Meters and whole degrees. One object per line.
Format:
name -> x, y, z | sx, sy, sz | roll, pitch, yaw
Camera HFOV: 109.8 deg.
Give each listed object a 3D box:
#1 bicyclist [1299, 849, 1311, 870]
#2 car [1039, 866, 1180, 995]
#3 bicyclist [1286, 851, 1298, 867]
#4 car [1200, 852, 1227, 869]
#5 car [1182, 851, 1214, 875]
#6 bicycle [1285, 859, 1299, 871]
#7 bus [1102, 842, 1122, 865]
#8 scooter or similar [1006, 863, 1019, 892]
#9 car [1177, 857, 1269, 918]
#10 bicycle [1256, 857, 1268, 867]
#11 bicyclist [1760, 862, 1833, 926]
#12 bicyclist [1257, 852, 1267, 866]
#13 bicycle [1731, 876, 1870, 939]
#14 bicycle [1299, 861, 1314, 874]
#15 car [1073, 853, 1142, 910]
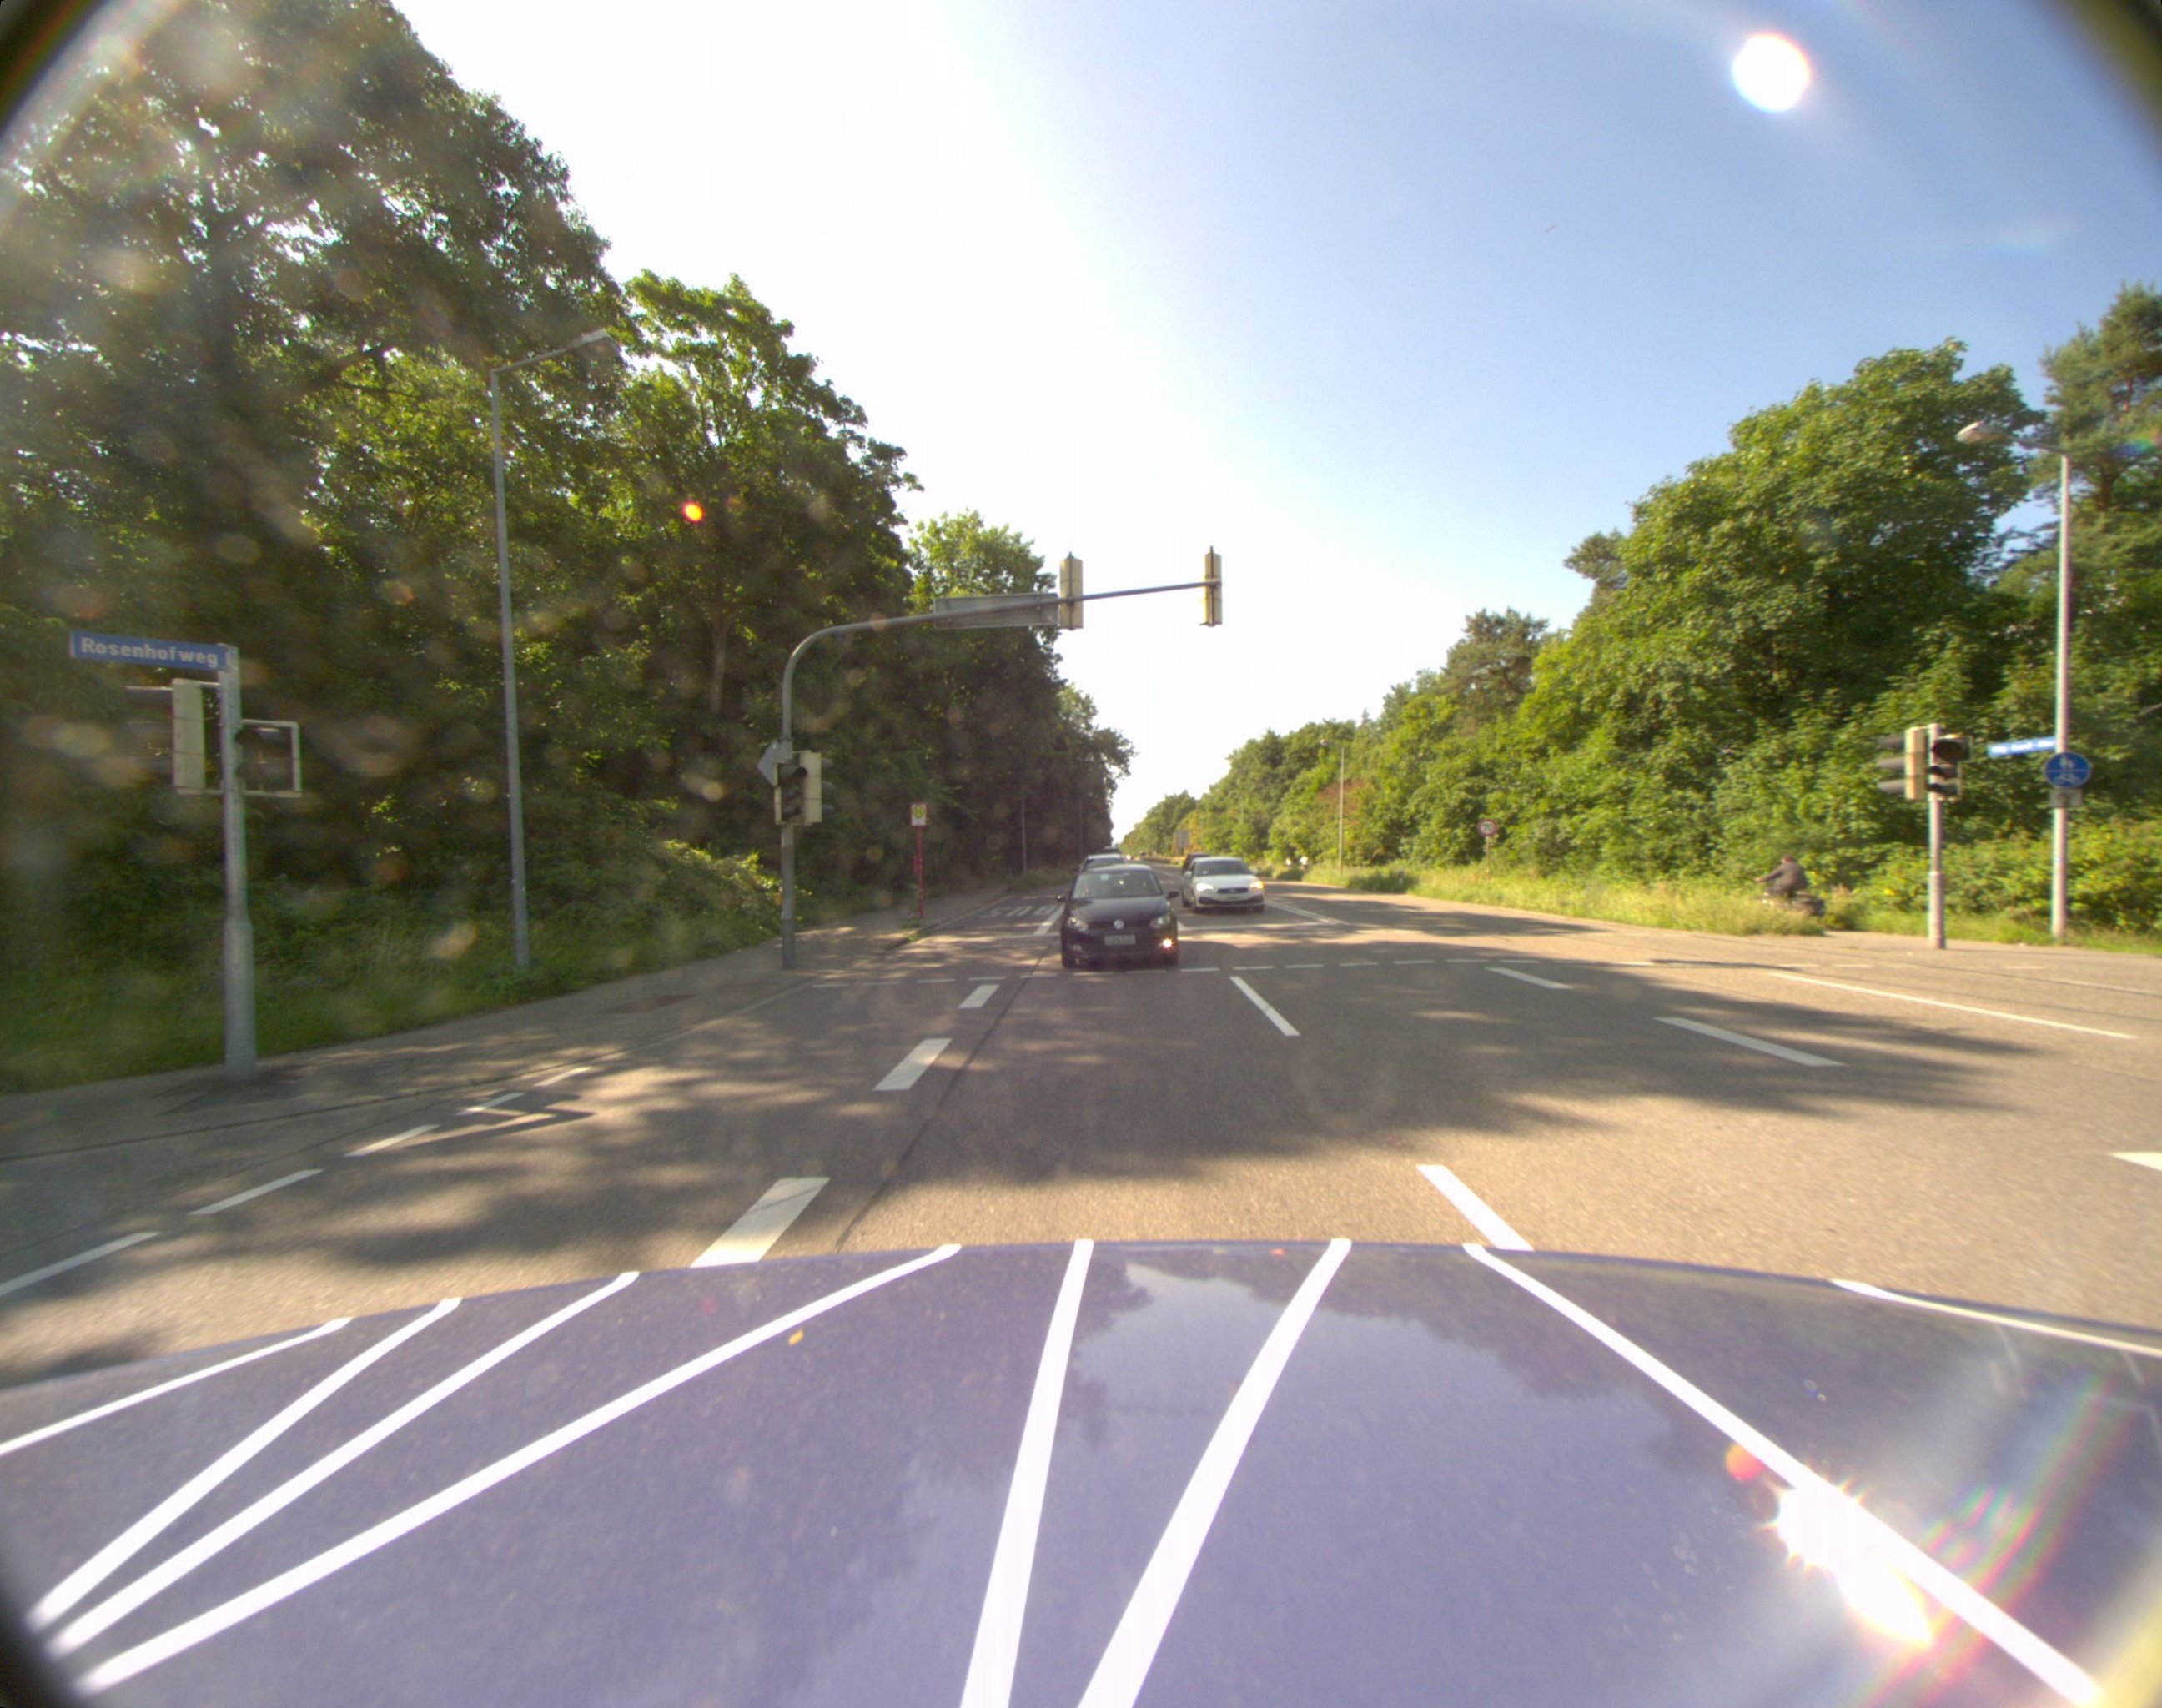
bicyclist -> 16.523, 0.389, 55.958 | 0.612, 1.458, 0.944 | -3, 1, 4
car -> 0.605, 0.975, 11.278 | 1.649, 1.422, 4.057 | -3, 0, 7
bicyclist -> 16.898, 0.368, 60.798 | 0.702, 1.256, 0.727 | -3, 1, 4
car -> 12.019, 0.587, 69.261 | 1.707, 1.424, 4.461 | 0, 0, 0
car -> 8.478, 0.617, 55.354 | 1.795, 1.687, 4.392 | 0, 1, 2
bicycle -> 16.897, 0.870, 60.838 | 0.605, 0.952, 2.139 | -1, 0, 4
bus -> 4.742, -0.118, 117.778 | 2.782, 3.437, 7.794 | -3, 1, 2
scooter or similar -> -3.189, 1.076, 35.273 | 0.401, 1.299, 1.328 | -1, 0, -12
car -> 3.741, 0.823, 20.720 | 1.788, 1.416, 4.423 | -3, 0, 3
bicycle -> 17.307, 0.748, 72.615 | 0.676, 0.951, 1.913 | -3, 1, 0
bicyclist -> 15.140, 0.833, 16.098 | 0.723, 1.303, 0.883 | -1, 1, 0
bicyclist -> 17.294, 0.460, 72.585 | 0.676, 1.335, 0.975 | -3, 1, 0
bicycle -> 15.151, 1.078, 16.119 | 0.734, 1.156, 2.372 | -1, 0, 1
bicycle -> 16.554, 0.963, 55.914 | 0.605, 0.909, 2.139 | -1, 0, 4
car -> 0.973, 0.839, 25.369 | 1.811, 1.639, 4.309 | -2, 0, 7
